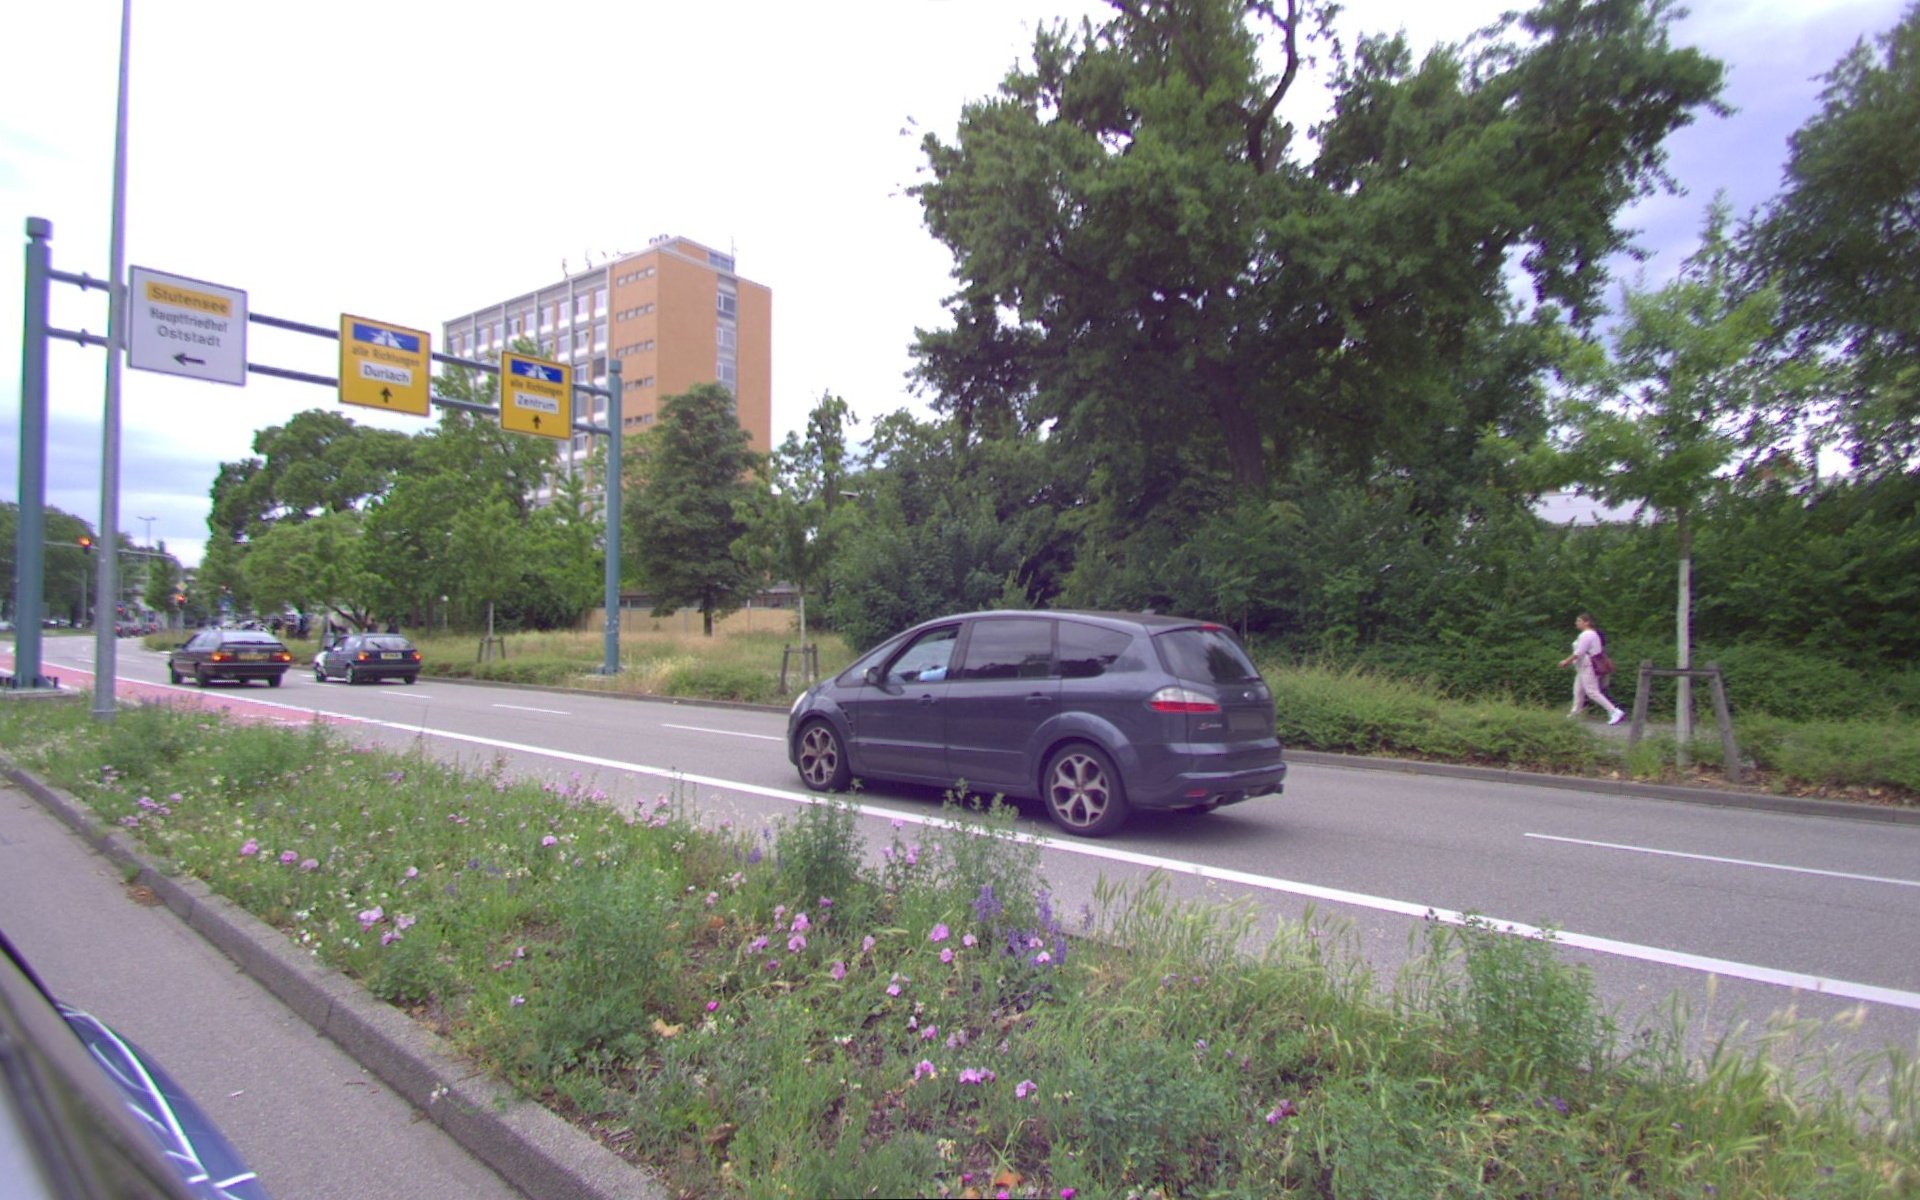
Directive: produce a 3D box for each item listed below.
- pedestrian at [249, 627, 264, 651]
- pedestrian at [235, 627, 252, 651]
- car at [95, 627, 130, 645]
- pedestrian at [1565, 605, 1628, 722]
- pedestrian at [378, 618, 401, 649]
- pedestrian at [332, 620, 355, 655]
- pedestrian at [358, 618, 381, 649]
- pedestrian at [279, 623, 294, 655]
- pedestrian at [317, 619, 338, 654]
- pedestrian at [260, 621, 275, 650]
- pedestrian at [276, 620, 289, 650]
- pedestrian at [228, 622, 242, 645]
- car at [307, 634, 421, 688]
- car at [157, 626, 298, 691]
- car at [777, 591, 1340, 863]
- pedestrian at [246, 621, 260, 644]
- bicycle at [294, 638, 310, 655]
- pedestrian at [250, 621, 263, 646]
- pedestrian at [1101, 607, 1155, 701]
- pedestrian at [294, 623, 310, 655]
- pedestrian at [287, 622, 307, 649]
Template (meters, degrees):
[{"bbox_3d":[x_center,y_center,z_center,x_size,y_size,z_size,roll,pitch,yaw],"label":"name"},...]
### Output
[{"bbox_3d":[-45.153,2.490,64.929,0.628,1.491,0.762,4,-4,-44],"label":"pedestrian"},{"bbox_3d":[-45.534,2.457,64.293,0.813,1.491,0.720,-2,-4,44],"label":"pedestrian"},{"bbox_3d":[-85.934,3.663,102.635,1.785,1.680,3.962,2,-2,-27],"label":"car"},{"bbox_3d":[9.346,0.925,14.864,0.671,1.648,0.693,-2,-4,41],"label":"pedestrian"},{"bbox_3d":[-25.476,1.505,45.185,0.680,1.373,0.638,-2,-4,39],"label":"pedestrian"},{"bbox_3d":[-30.352,1.842,49.829,0.766,1.685,0.700,-1,-4,35],"label":"pedestrian"},{"bbox_3d":[-26.025,1.479,44.613,0.711,1.368,0.638,-2,-4,40],"label":"pedestrian"},{"bbox_3d":[-35.068,2.041,52.683,0.567,1.621,0.618,3,-4,-33],"label":"pedestrian"},{"bbox_3d":[-30.795,1.794,49.285,0.719,1.673,0.580,-1,-4,35],"label":"pedestrian"},{"bbox_3d":[-40.968,2.100,59.865,0.613,1.708,0.749,2,-3,-31],"label":"pedestrian"},{"bbox_3d":[-40.339,2.094,60.250,0.570,1.725,0.764,2,-3,-31],"label":"pedestrian"},{"bbox_3d":[-54.638,2.536,76.312,0.943,1.683,0.698,-2,-2,44],"label":"pedestrian"},{"bbox_3d":[-16.392,1.643,27.780,3.807,1.391,1.590,-2,-4,42],"label":"car"},{"bbox_3d":[-18.546,1.444,25.543,4.788,1.471,1.746,-1,-4,40],"label":"car"},{"bbox_3d":[0.627,0.849,8.454,4.397,1.677,1.900,-1,-3,41],"label":"car"},{"bbox_3d":[-53.873,2.464,77.112,0.890,1.683,0.698,-2,-1,45],"label":"pedestrian"},{"bbox_3d":[-34.556,2.438,53.131,0.652,0.894,1.719,3,-3,-34],"label":"bicycle"},{"bbox_3d":[-51.014,2.435,73.352,0.762,1.815,0.630,-2,-3,44],"label":"pedestrian"},{"bbox_3d":[3.213,1.020,19.331,0.818,1.742,0.613,-2,-4,41],"label":"pedestrian"},{"bbox_3d":[-34.552,2.045,53.151,0.652,1.644,0.765,3,-4,-34],"label":"pedestrian"},{"bbox_3d":[-40.467,2.156,61.772,0.823,1.625,0.631,-2,-1,19],"label":"pedestrian"}]
